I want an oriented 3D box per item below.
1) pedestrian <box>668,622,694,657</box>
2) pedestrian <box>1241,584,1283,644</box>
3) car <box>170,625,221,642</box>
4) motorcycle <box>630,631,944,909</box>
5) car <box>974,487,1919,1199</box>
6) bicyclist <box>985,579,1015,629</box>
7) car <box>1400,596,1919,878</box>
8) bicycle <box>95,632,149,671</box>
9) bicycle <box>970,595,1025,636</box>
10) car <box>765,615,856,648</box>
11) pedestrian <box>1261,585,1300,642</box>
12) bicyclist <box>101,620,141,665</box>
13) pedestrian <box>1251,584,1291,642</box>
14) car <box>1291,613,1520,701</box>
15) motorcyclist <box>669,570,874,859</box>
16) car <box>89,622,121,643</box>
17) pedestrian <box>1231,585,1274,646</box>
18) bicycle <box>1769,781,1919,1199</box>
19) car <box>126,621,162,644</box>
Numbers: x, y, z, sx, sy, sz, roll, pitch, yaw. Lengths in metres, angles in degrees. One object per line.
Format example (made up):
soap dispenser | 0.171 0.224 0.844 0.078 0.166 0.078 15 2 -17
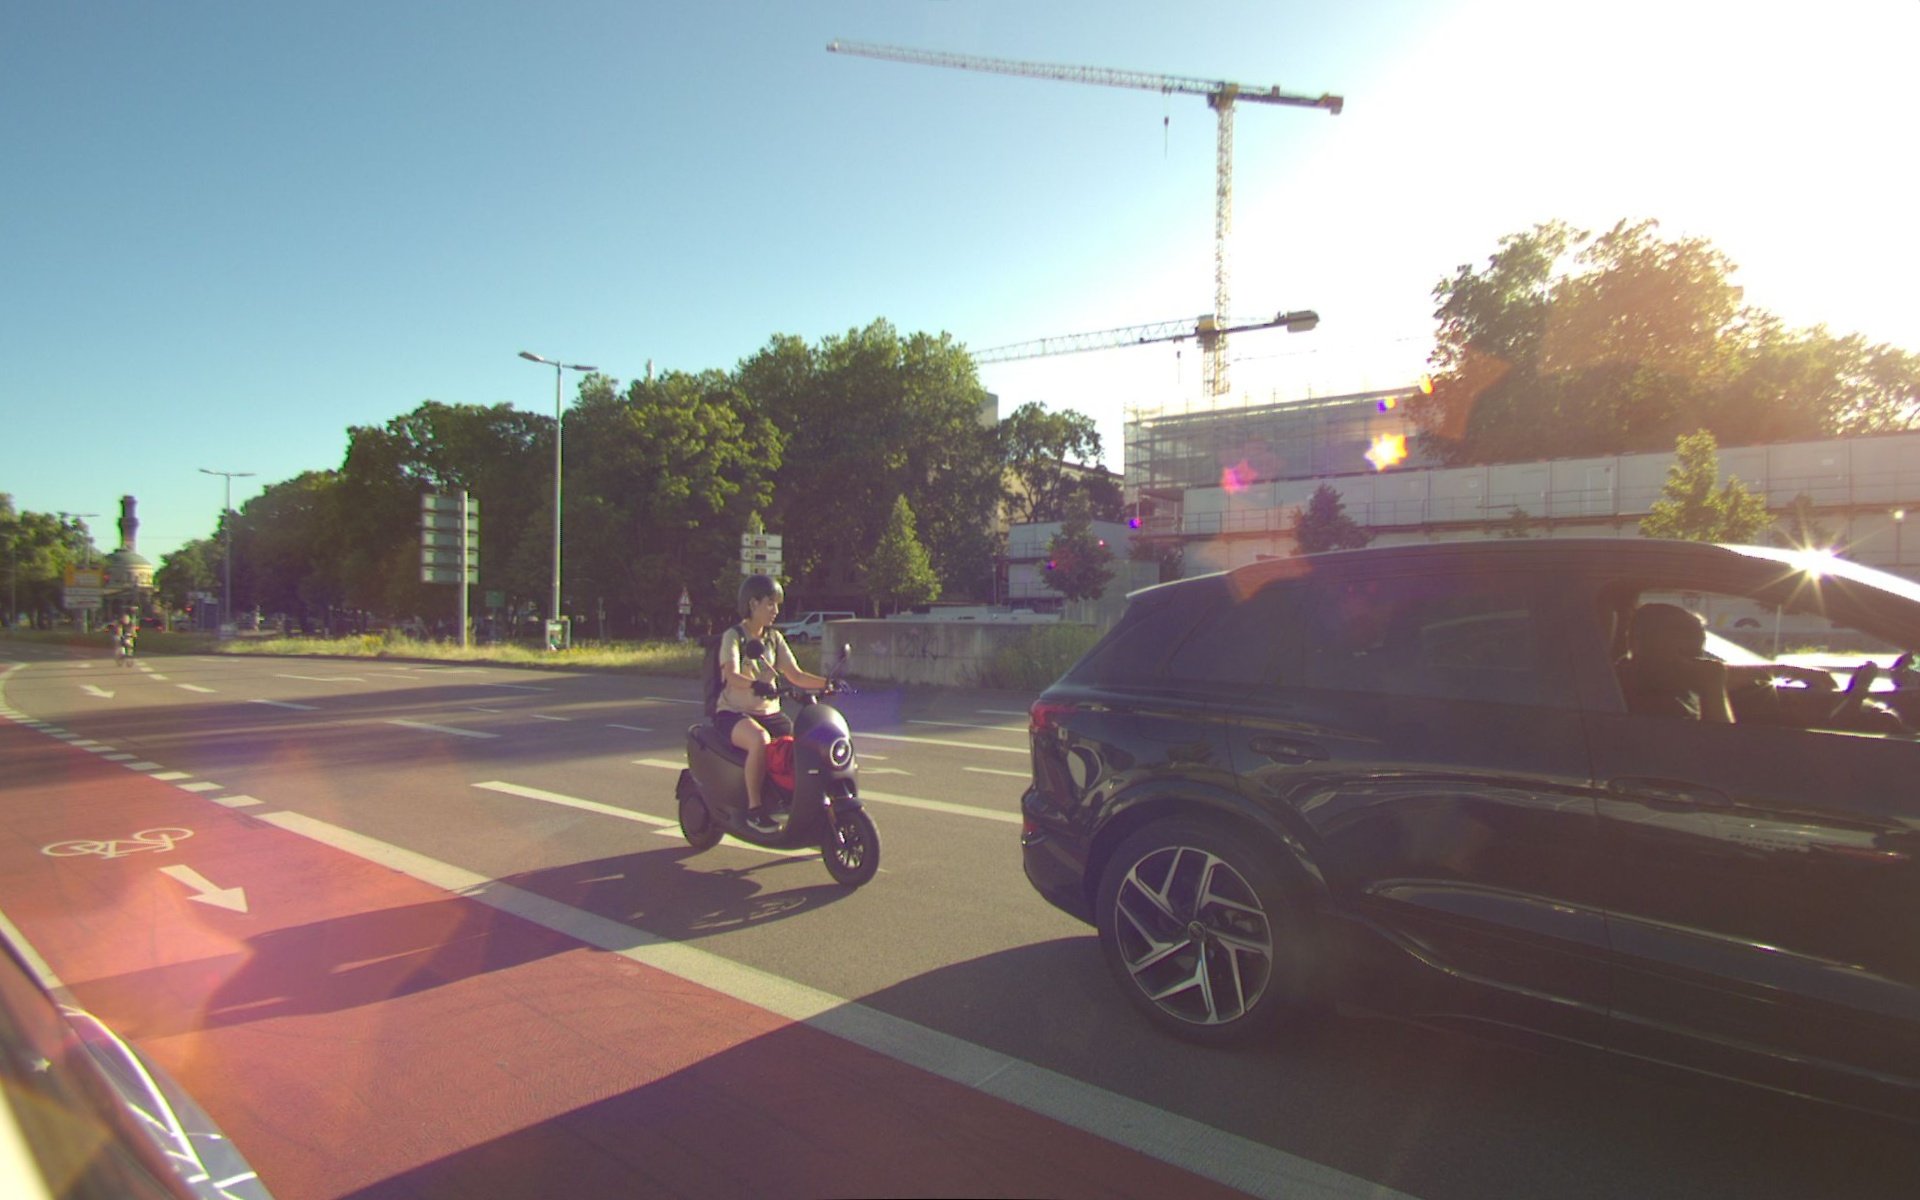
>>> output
pedestrian | -15.388 2.164 55.881 1.018 1.845 0.976 -1 0 39
pedestrian | 10.482 0.478 35.142 1.135 2.029 0.930 -1 0 35
car | -87.383 3.805 115.688 4.517 1.851 1.880 -1 0 -44
motorcycle | -1.034 0.842 5.739 1.883 1.303 0.715 -2 -1 41
car | 2.414 0.577 3.035 4.677 1.647 1.753 -1 0 40
bicyclist | 1.164 0.130 29.664 0.713 1.448 0.490 -1 0 39
car | 4.973 0.754 6.555 3.603 1.497 1.477 -2 -1 41
bicycle | -26.234 1.584 31.660 2.806 1.124 0.843 -2 -1 41
bicycle | 1.100 0.445 29.710 1.649 1.163 0.490 -1 0 40
car | -9.057 1.913 61.855 2.065 1.950 5.443 -1 -2 42
pedestrian | 11.625 0.469 36.705 1.135 2.029 0.930 -1 0 35
bicyclist | -26.199 1.326 31.597 0.829 1.358 0.843 -2 -1 41
pedestrian | 11.041 0.459 35.919 1.135 2.029 0.930 -1 0 35
car | 8.795 1.061 20.156 3.894 1.597 1.637 -1 -2 39
motorcyclist | -1.081 0.596 5.780 0.917 1.485 0.717 -2 -1 41
car | -79.862 3.015 94.550 3.945 1.802 1.725 -1 0 41
pedestrian | 9.932 0.507 34.354 1.135 2.029 0.930 -1 0 35
bicycle | 1.399 0.791 0.258 1.829 1.227 0.610 -2 -1 39
car | -71.502 2.834 88.691 3.998 1.841 1.796 -1 0 41
